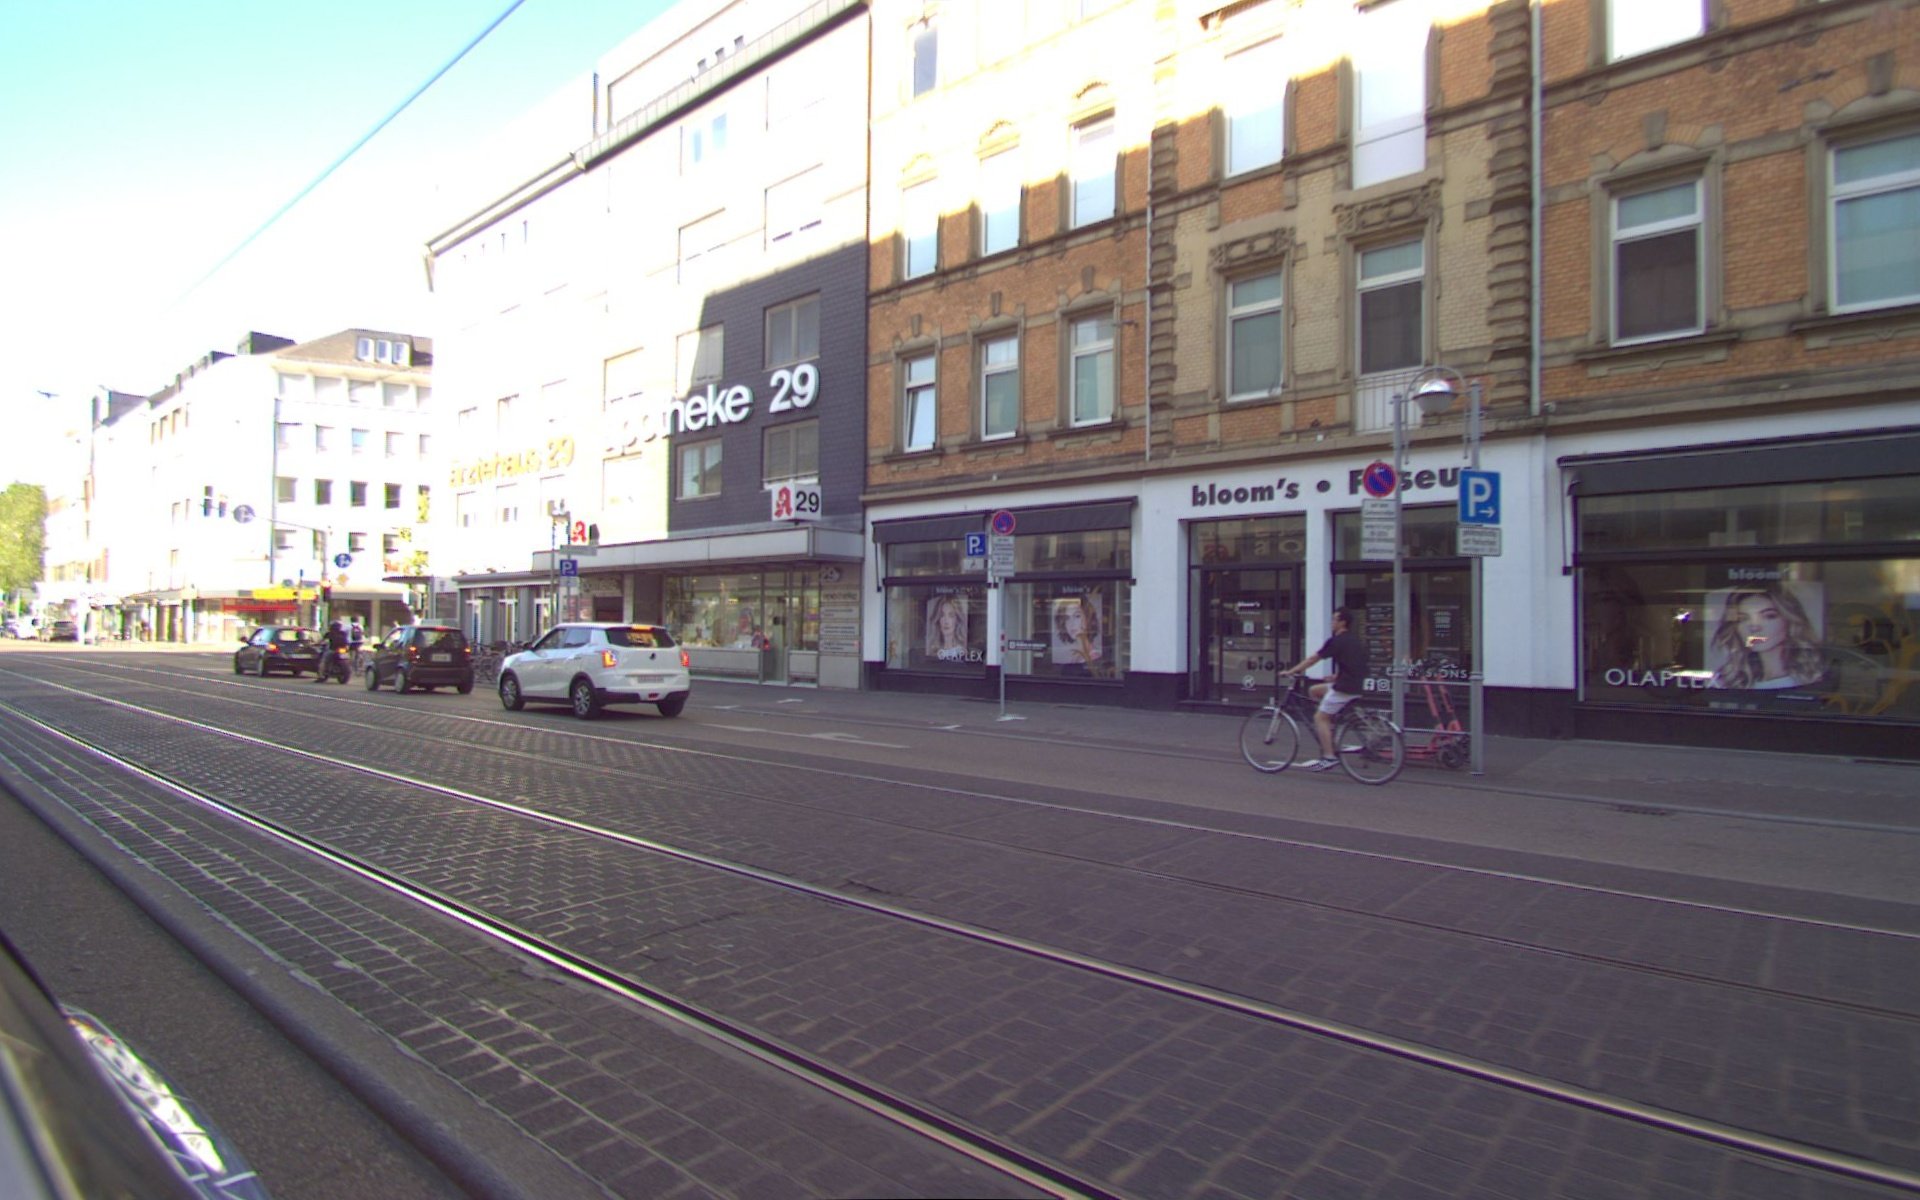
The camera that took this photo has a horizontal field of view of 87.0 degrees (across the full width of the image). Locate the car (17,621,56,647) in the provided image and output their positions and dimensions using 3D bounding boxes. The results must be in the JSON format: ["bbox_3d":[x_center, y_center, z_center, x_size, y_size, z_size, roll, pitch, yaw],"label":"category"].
[{"bbox_3d":[-74.197,2.725,81.303,4.844,2.029,1.971,-2,-2,44],"label":"car"}]

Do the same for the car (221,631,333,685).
[{"bbox_3d":[-20.090,1.684,29.722,4.137,1.457,1.695,-2,-5,42],"label":"car"}]

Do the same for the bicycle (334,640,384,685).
[{"bbox_3d":[-18.620,1.920,31.334,2.024,1.303,0.742,-1,-2,41],"label":"bicycle"}]

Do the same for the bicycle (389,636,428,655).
[{"bbox_3d":[-29.497,2.434,54.133,1.697,1.015,0.762,2,-5,-37],"label":"bicycle"}]

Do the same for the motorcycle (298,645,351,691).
[{"bbox_3d":[-16.579,1.759,26.389,2.116,1.128,0.564,-1,-3,42],"label":"motorcycle"}]

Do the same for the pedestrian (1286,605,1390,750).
[{"bbox_3d":[3.990,0.785,10.685,0.874,1.455,0.617,0,-2,41],"label":"pedestrian"}]

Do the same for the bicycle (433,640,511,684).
[{"bbox_3d":[-14.186,1.784,29.470,0.772,1.201,1.917,-1,-2,36],"label":"bicycle"}]

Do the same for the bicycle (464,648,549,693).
[{"bbox_3d":[-11.923,1.833,26.661,0.772,1.119,1.917,-1,-2,36],"label":"bicycle"}]

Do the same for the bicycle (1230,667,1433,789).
[{"bbox_3d":[3.900,1.307,10.738,1.951,1.124,0.572,-1,-3,40],"label":"bicycle"}]

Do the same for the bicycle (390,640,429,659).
[{"bbox_3d":[-29.754,2.675,54.733,1.765,0.975,0.555,2,-3,-37],"label":"bicycle"}]

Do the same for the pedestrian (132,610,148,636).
[{"bbox_3d":[-55.717,1.583,68.727,0.700,1.722,0.562,1,-3,-28],"label":"pedestrian"}]

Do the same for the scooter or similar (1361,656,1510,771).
[{"bbox_3d":[5.564,1.293,11.875,1.475,1.211,0.573,-1,-1,38],"label":"scooter or similar"}]

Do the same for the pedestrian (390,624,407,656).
[{"bbox_3d":[-30.669,2.191,55.293,0.644,1.725,0.794,1,-2,-40],"label":"pedestrian"}]

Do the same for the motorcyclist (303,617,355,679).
[{"bbox_3d":[-16.382,1.236,26.277,1.145,1.570,0.794,-1,-3,42],"label":"motorcyclist"}]

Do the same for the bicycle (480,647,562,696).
[{"bbox_3d":[-11.311,1.814,26.127,0.551,1.199,1.916,-1,-2,37],"label":"bicycle"}]

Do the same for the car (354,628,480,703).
[{"bbox_3d":[-12.372,1.442,23.011,2.828,1.578,1.631,-1,-3,42],"label":"car"}]

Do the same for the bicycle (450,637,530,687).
[{"bbox_3d":[-13.251,1.726,28.583,0.772,1.289,1.917,-1,-1,36],"label":"bicycle"}]

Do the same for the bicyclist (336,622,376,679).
[{"bbox_3d":[-18.716,1.547,31.356,1.145,1.742,0.742,-1,-2,42],"label":"bicyclist"}]

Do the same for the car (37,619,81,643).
[{"bbox_3d":[-67.773,2.329,76.088,3.998,1.719,1.973,-2,-2,41],"label":"car"}]

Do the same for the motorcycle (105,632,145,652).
[{"bbox_3d":[-64.959,3.255,78.750,0.999,1.517,2.226,-2,-3,38],"label":"motorcycle"}]

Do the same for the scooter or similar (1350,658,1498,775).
[{"bbox_3d":[5.253,1.290,11.507,1.475,1.211,0.360,-1,-1,38],"label":"scooter or similar"}]

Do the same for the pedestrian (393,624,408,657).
[{"bbox_3d":[-30.171,2.172,54.585,0.550,1.741,0.782,1,-2,-39],"label":"pedestrian"}]

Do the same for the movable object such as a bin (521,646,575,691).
[{"bbox_3d":[-10.625,1.750,26.093,0.734,1.080,1.088,-1,-1,41],"label":"movable object such as a bin"}]

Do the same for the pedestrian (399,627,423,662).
[{"bbox_3d":[-29.397,2.385,54.191,0.985,1.881,0.782,1,-5,-39],"label":"pedestrian"}]

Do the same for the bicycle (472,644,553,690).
[{"bbox_3d":[-12.207,1.812,27.657,0.772,1.161,1.917,-1,-2,36],"label":"bicycle"}]

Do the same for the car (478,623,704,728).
[{"bbox_3d":[-6.502,1.244,17.626,4.261,1.606,1.870,-1,-4,42],"label":"car"}]
